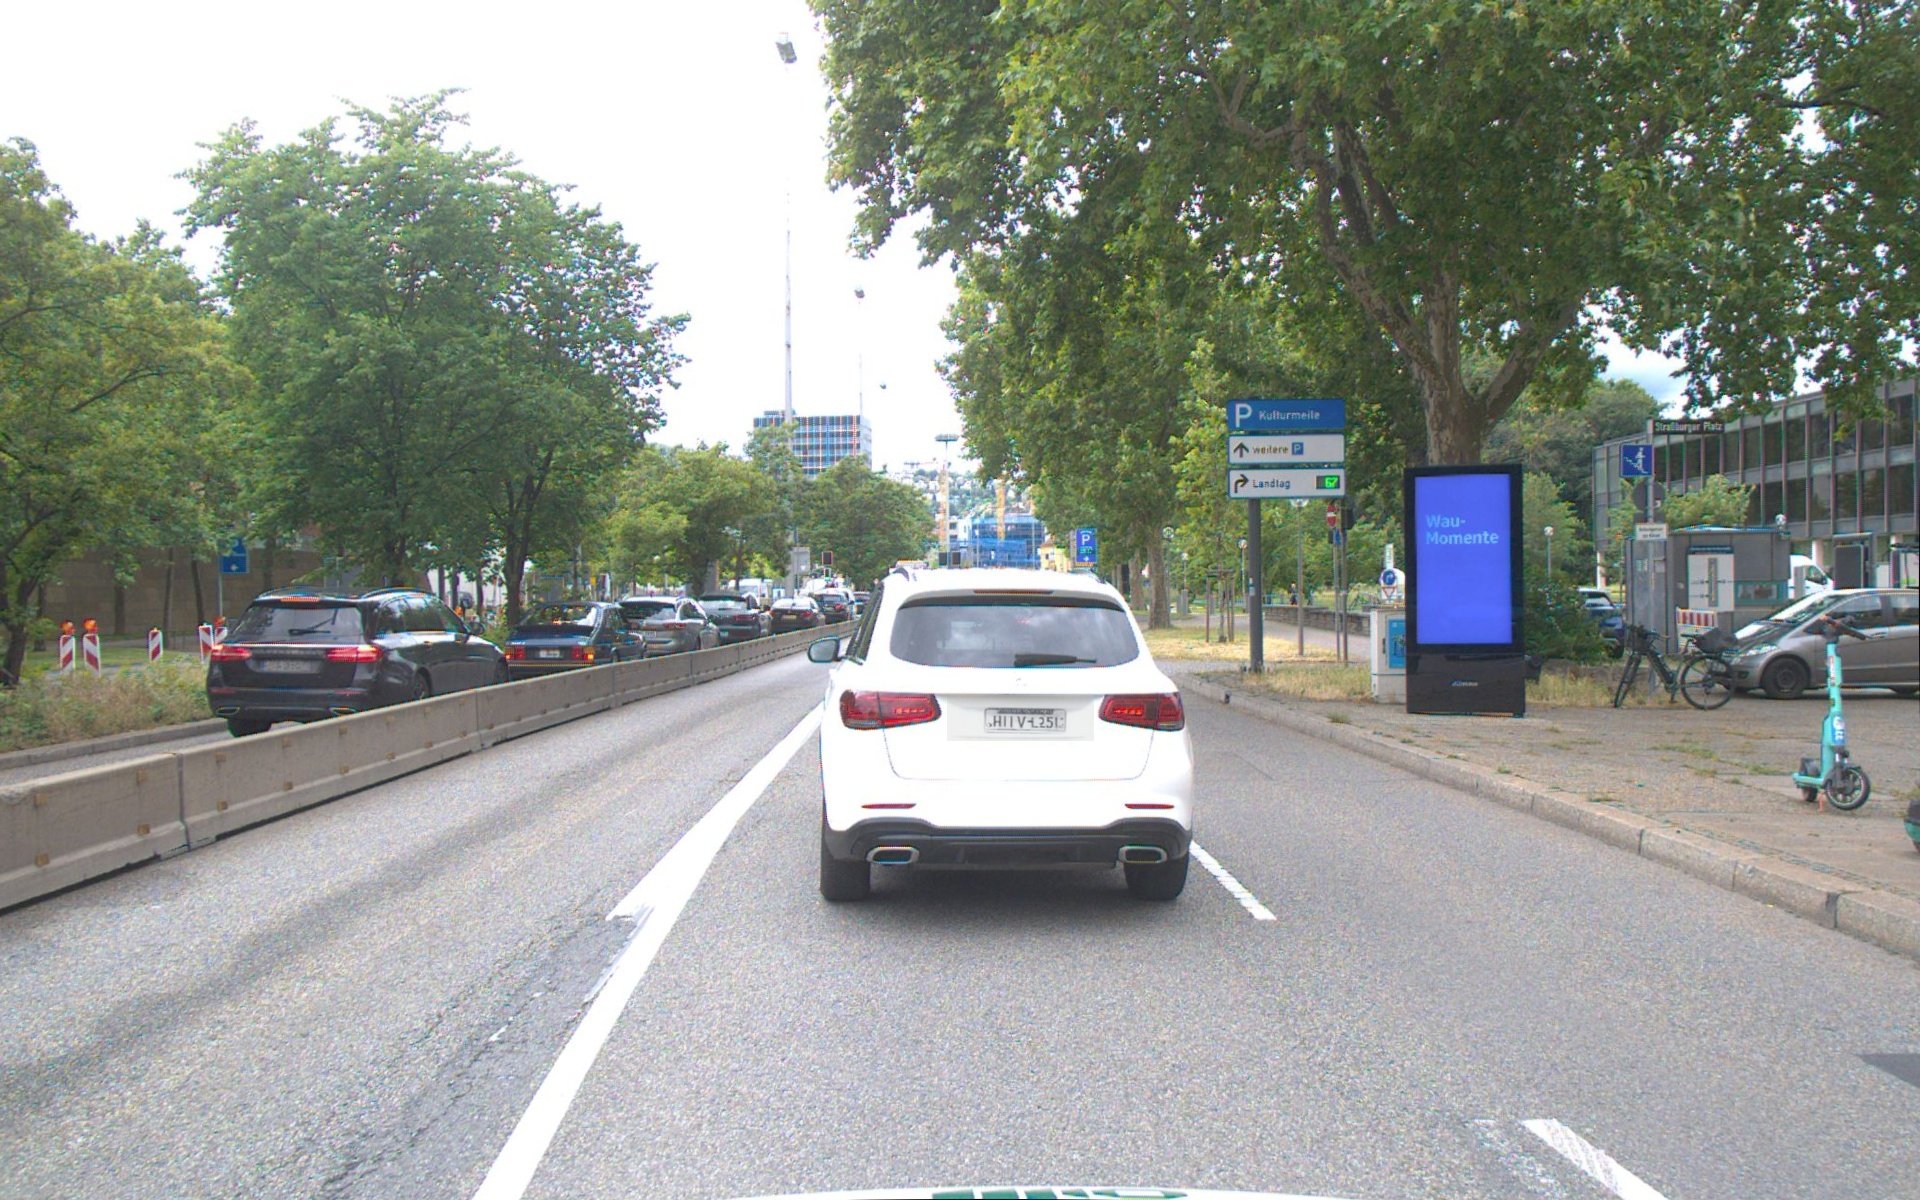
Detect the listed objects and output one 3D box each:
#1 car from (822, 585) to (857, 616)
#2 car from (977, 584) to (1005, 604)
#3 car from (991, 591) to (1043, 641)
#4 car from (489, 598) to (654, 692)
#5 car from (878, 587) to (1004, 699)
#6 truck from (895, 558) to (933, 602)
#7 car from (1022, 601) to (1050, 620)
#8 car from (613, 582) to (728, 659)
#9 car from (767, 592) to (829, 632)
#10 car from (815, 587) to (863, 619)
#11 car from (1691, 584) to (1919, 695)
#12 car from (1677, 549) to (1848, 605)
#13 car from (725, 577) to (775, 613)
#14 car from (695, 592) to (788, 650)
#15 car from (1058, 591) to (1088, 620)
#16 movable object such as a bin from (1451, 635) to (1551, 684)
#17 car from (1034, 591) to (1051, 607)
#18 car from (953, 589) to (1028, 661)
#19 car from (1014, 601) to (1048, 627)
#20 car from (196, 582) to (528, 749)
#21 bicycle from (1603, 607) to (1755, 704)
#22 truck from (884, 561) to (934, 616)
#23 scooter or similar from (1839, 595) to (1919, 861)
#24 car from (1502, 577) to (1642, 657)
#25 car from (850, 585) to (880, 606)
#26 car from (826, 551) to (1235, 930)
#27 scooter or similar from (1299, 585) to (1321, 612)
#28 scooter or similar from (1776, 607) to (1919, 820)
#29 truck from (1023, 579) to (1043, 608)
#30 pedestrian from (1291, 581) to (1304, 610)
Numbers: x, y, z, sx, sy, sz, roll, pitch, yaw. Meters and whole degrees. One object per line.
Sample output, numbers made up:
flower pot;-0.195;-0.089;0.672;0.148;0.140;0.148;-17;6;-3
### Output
car;-6.058;0.047;83.334;1.626;1.540;3.546;0;0;-2
car;2.171;-0.401;115.876;1.906;1.343;4.017;1;0;1
car;2.064;0.559;61.016;1.788;1.783;4.000;0;0;0
car;-6.296;0.673;27.293;1.643;1.391;4.543;0;0;0
car;-0.365;0.633;26.096;1.760;1.636;3.752;1;0;-4
truck;-3.392;-1.444;122.993;2.637;3.044;5.637;2;0;0
car;5.332;0.737;116.312;1.906;1.343;4.017;1;0;1
car;-5.818;0.406;33.684;1.627;1.461;3.960;1;0;0
car;-5.667;0.423;58.340;1.624;1.343;3.549;1;0;3
car;-5.267;0.145;72.139;1.624;1.343;3.549;1;0;3
car;13.170;0.568;24.737;3.757;1.596;1.679;0;0;0
car;33.612;-0.958;69.405;5.980;2.300;2.402;0;0;2
car;-11.966;-0.277;94.479;2.072;2.004;5.578;0;0;0
car;-5.735;0.517;43.817;1.739;1.445;4.001;0;0;2
car;8.014;0.386;117.300;1.952;2.049;4.001;1;0;1
movable object such as a bin;7.895;0.863;24.181;1.271;0.663;0.729;2;-1;9
car;9.143;-0.087;182.931;1.722;1.698;4.168;0;0;1
car;0.694;0.583;40.222;1.626;1.668;3.546;1;0;-2
car;4.121;0.785;95.986;1.906;1.453;4.017;1;0;1
car;-6.102;0.595;17.541;1.779;1.525;4.769;0;0;0
bicycle;9.334;0.716;21.500;1.747;1.242;0.492;0;0;3
truck;-2.755;-0.626;91.303;2.567;2.911;7.078;1;0;0
scooter or similar;5.247;0.657;8.471;0.711;1.354;1.413;1;0;-1
car;13.660;0.336;37.135;1.724;1.579;4.028;0;2;1
car;-6.089;-0.291;105.945;1.625;1.343;3.548;1;0;1
car;0.145;0.605;9.520;1.753;1.653;4.432;0;0;-6
scooter or similar;16.735;-0.048;79.116;0.622;1.267;2.226;2;0;3
scooter or similar;5.846;0.704;10.949;0.422;1.303;1.435;1;0;11
truck;10.750;-1.028;244.456;2.818;4.175;6.639;1;0;1
pedestrian;19.059;-0.268;93.418;0.625;1.639;0.663;0;0;8
